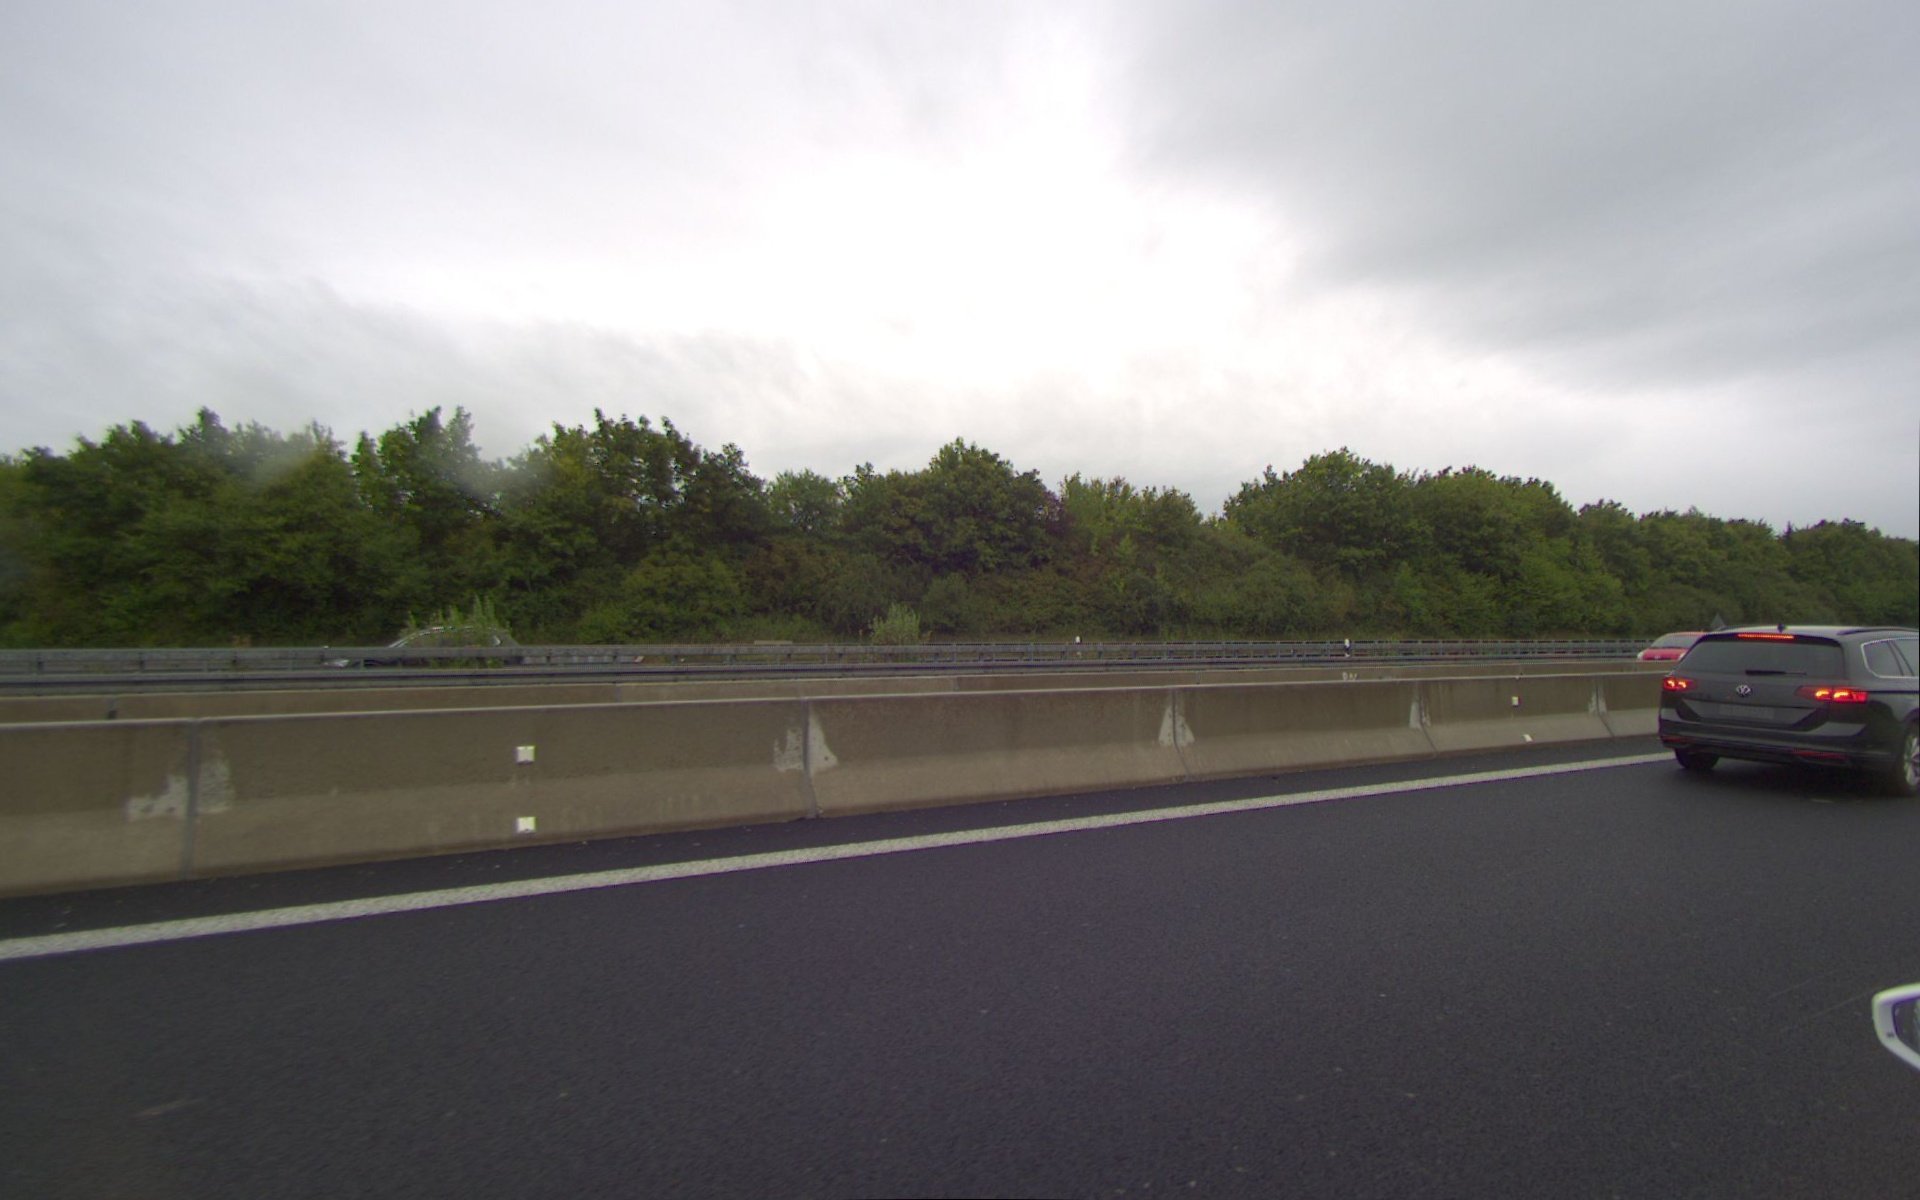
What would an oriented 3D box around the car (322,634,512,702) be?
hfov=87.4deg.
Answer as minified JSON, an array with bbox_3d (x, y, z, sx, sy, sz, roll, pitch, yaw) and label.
[{"bbox_3d":[-13.319,1.627,24.808,3.999,1.504,1.564,1,0,-30],"label":"car"}]

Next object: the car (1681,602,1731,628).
[{"bbox_3d":[58.841,1.186,79.228,3.952,2.040,1.742,1,-1,-29],"label":"car"}]

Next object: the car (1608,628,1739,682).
[{"bbox_3d":[22.631,1.702,31.821,4.530,1.573,1.715,1,0,-31],"label":"car"}]

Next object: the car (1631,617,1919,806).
[{"bbox_3d":[8.906,0.954,10.020,4.745,1.478,1.779,1,0,-30],"label":"car"}]
